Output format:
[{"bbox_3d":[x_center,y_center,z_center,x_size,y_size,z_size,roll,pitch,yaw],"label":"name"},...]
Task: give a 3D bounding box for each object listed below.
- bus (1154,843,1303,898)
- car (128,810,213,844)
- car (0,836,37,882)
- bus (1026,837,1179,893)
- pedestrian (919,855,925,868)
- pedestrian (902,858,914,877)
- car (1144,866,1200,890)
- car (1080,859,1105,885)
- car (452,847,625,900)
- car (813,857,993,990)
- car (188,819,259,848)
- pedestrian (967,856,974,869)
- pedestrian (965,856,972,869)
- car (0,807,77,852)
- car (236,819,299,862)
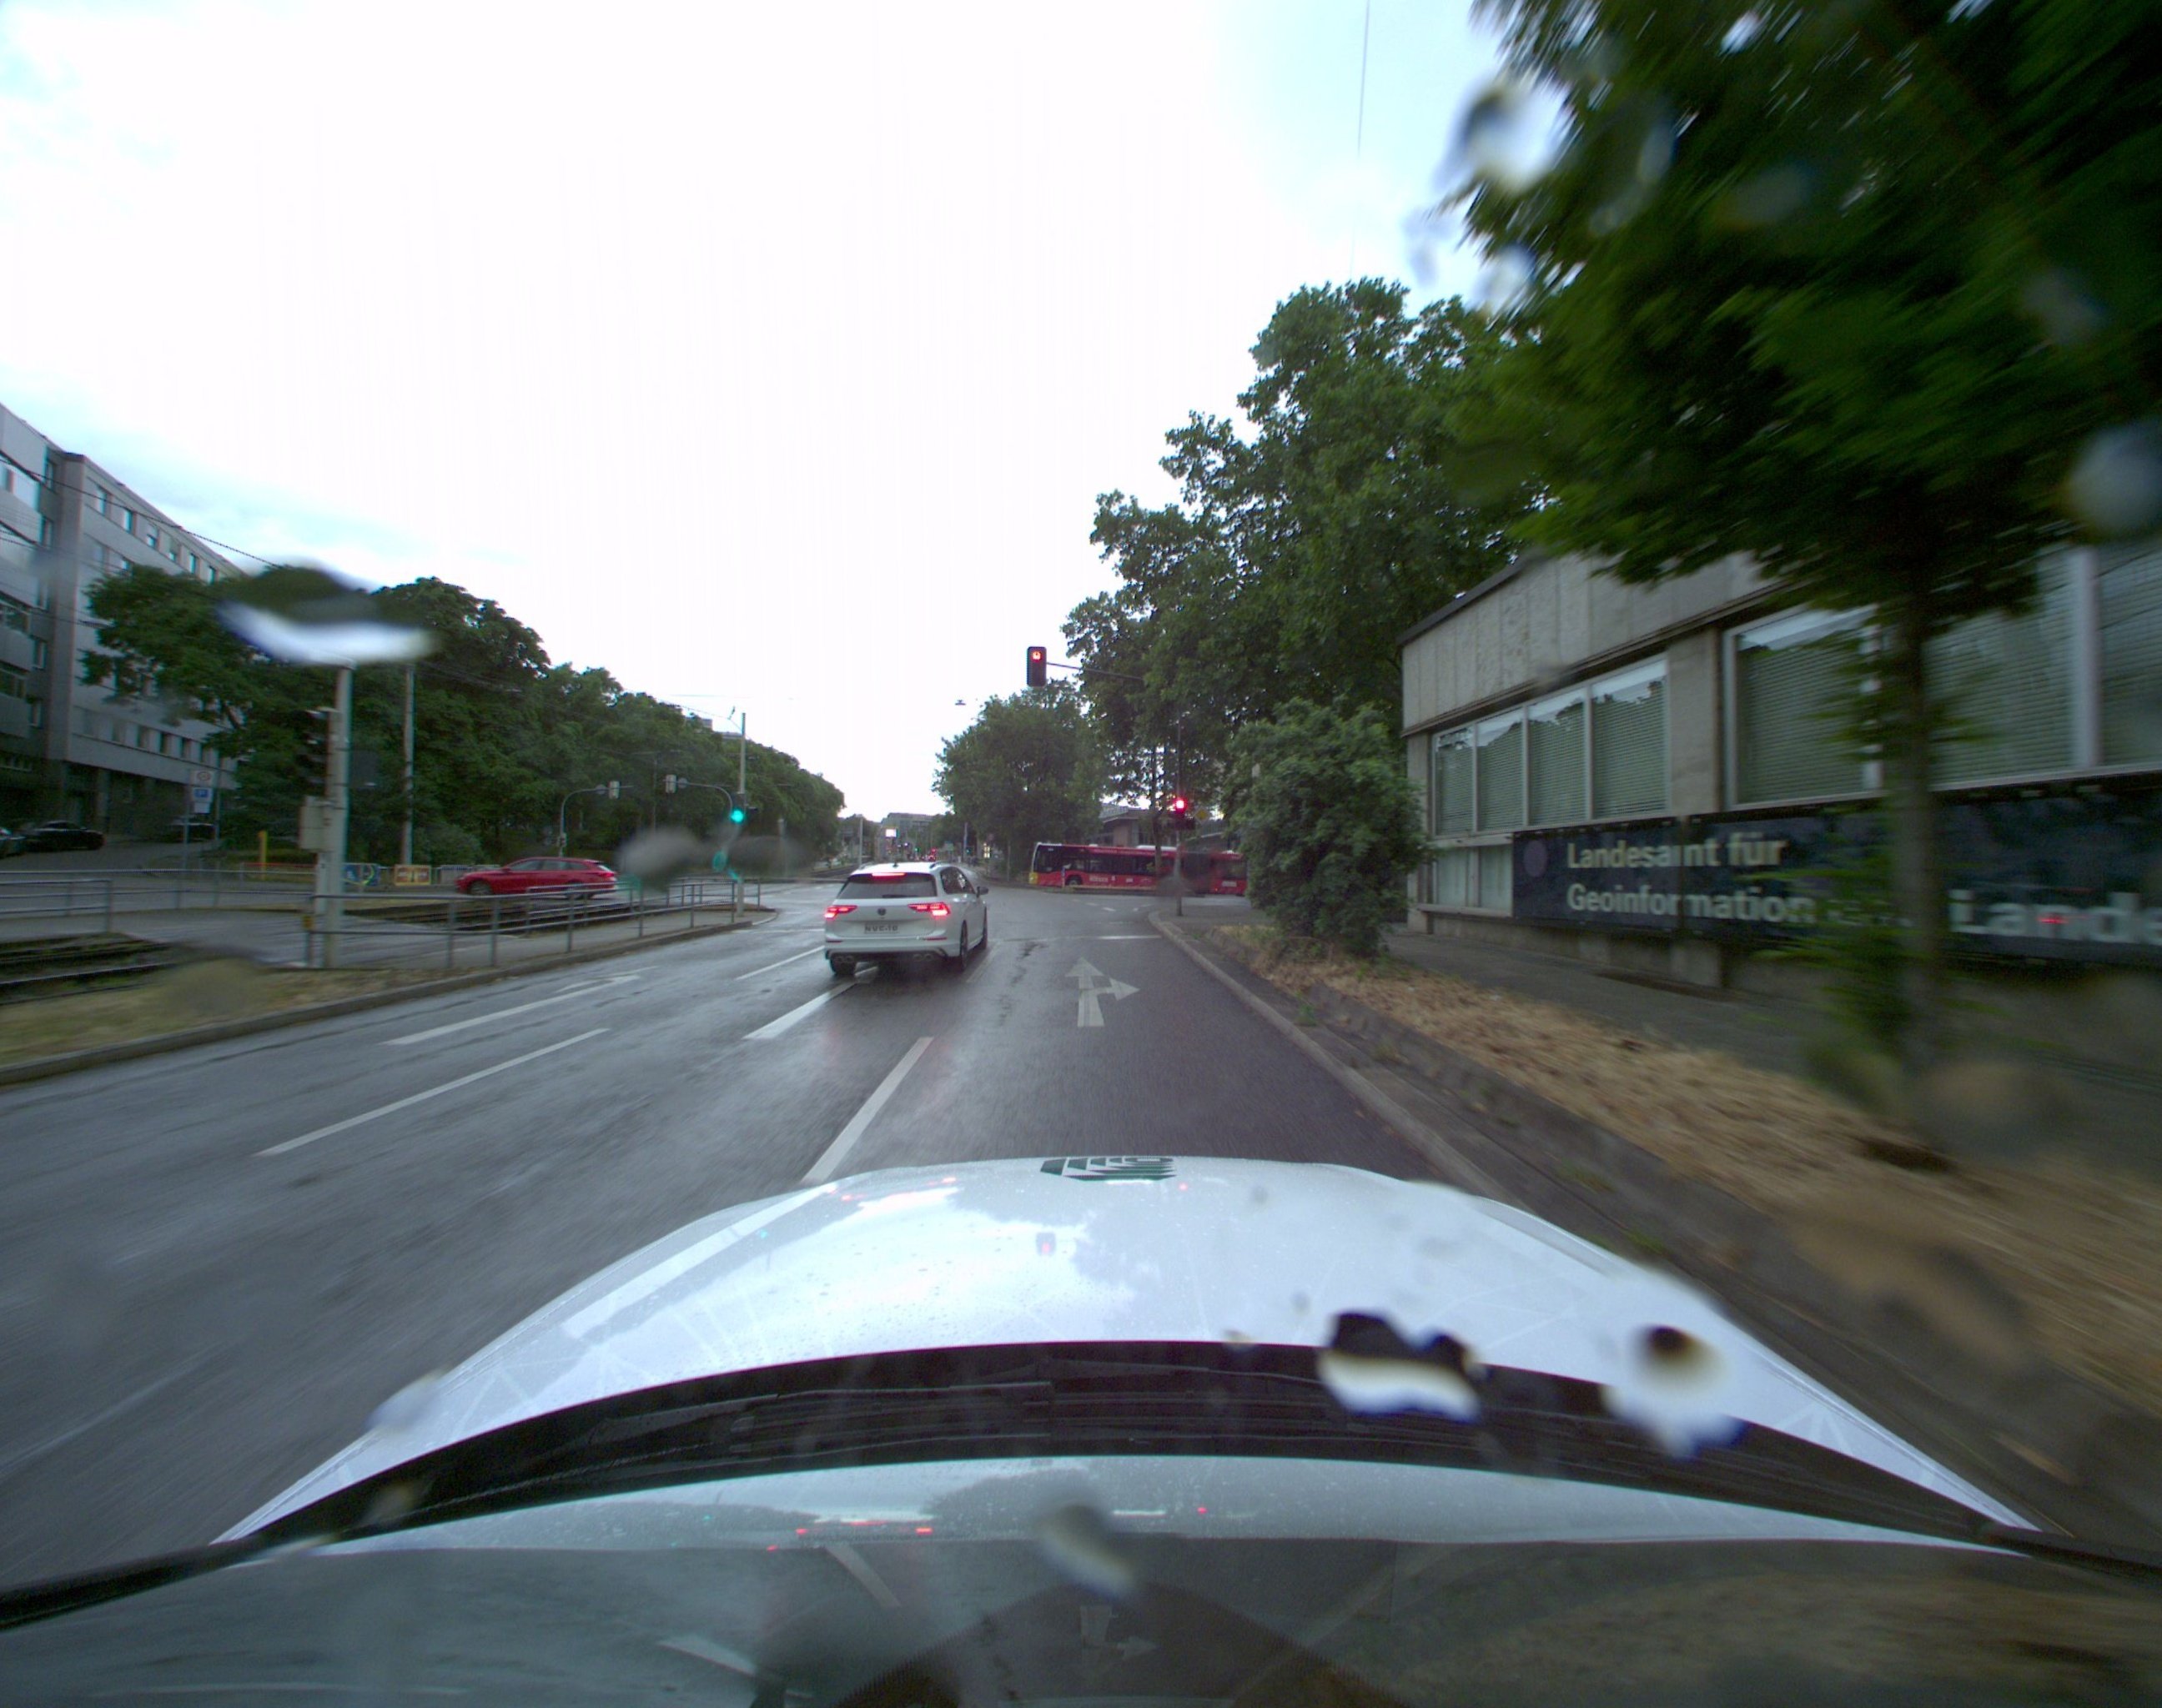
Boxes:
[{"bbox_3d":[9.587,1.073,53.063,9.152,3.111,2.655,3,-2,-9],"label":"bus"},{"bbox_3d":[-53.924,-1.571,48.338,2.005,1.794,4.170,3,-2,-29],"label":"car"},{"bbox_3d":[-45.217,0.145,33.458,2.010,1.794,3.953,4,-2,-40],"label":"car"},{"bbox_3d":[1.313,0.714,51.970,9.414,3.111,2.552,2,-2,-7],"label":"bus"},{"bbox_3d":[-41.363,1.956,211.992,1.352,3.252,0.981,2,-2,-6],"label":"pedestrian"},{"bbox_3d":[-15.773,1.247,74.211,0.735,1.640,0.871,2,-2,2],"label":"pedestrian"},{"bbox_3d":[8.353,2.205,74.677,4.764,1.943,1.985,3,-2,-22],"label":"car"},{"bbox_3d":[1.469,2.282,102.621,2.540,3.134,5.021,2,-1,-5],"label":"car"},{"bbox_3d":[-18.192,0.668,27.582,4.413,1.640,1.975,2,-1,-18],"label":"car"},{"bbox_3d":[-2.361,0.837,11.870,1.673,1.576,4.252,0,0,0],"label":"car"},{"bbox_3d":[-58.224,-1.352,55.399,2.005,1.794,4.172,3,-2,-28],"label":"car"},{"bbox_3d":[-15.627,1.189,115.118,0.757,1.824,0.697,3,-2,-13],"label":"pedestrian"},{"bbox_3d":[-15.685,1.151,113.670,0.757,1.824,0.697,3,-2,-13],"label":"pedestrian"},{"bbox_3d":[-48.459,-1.146,37.493,2.010,1.793,3.954,4,1,-40],"label":"car"},{"bbox_3d":[-60.519,-0.971,60.682,2.005,2.998,4.172,3,-2,-28],"label":"car"}]
